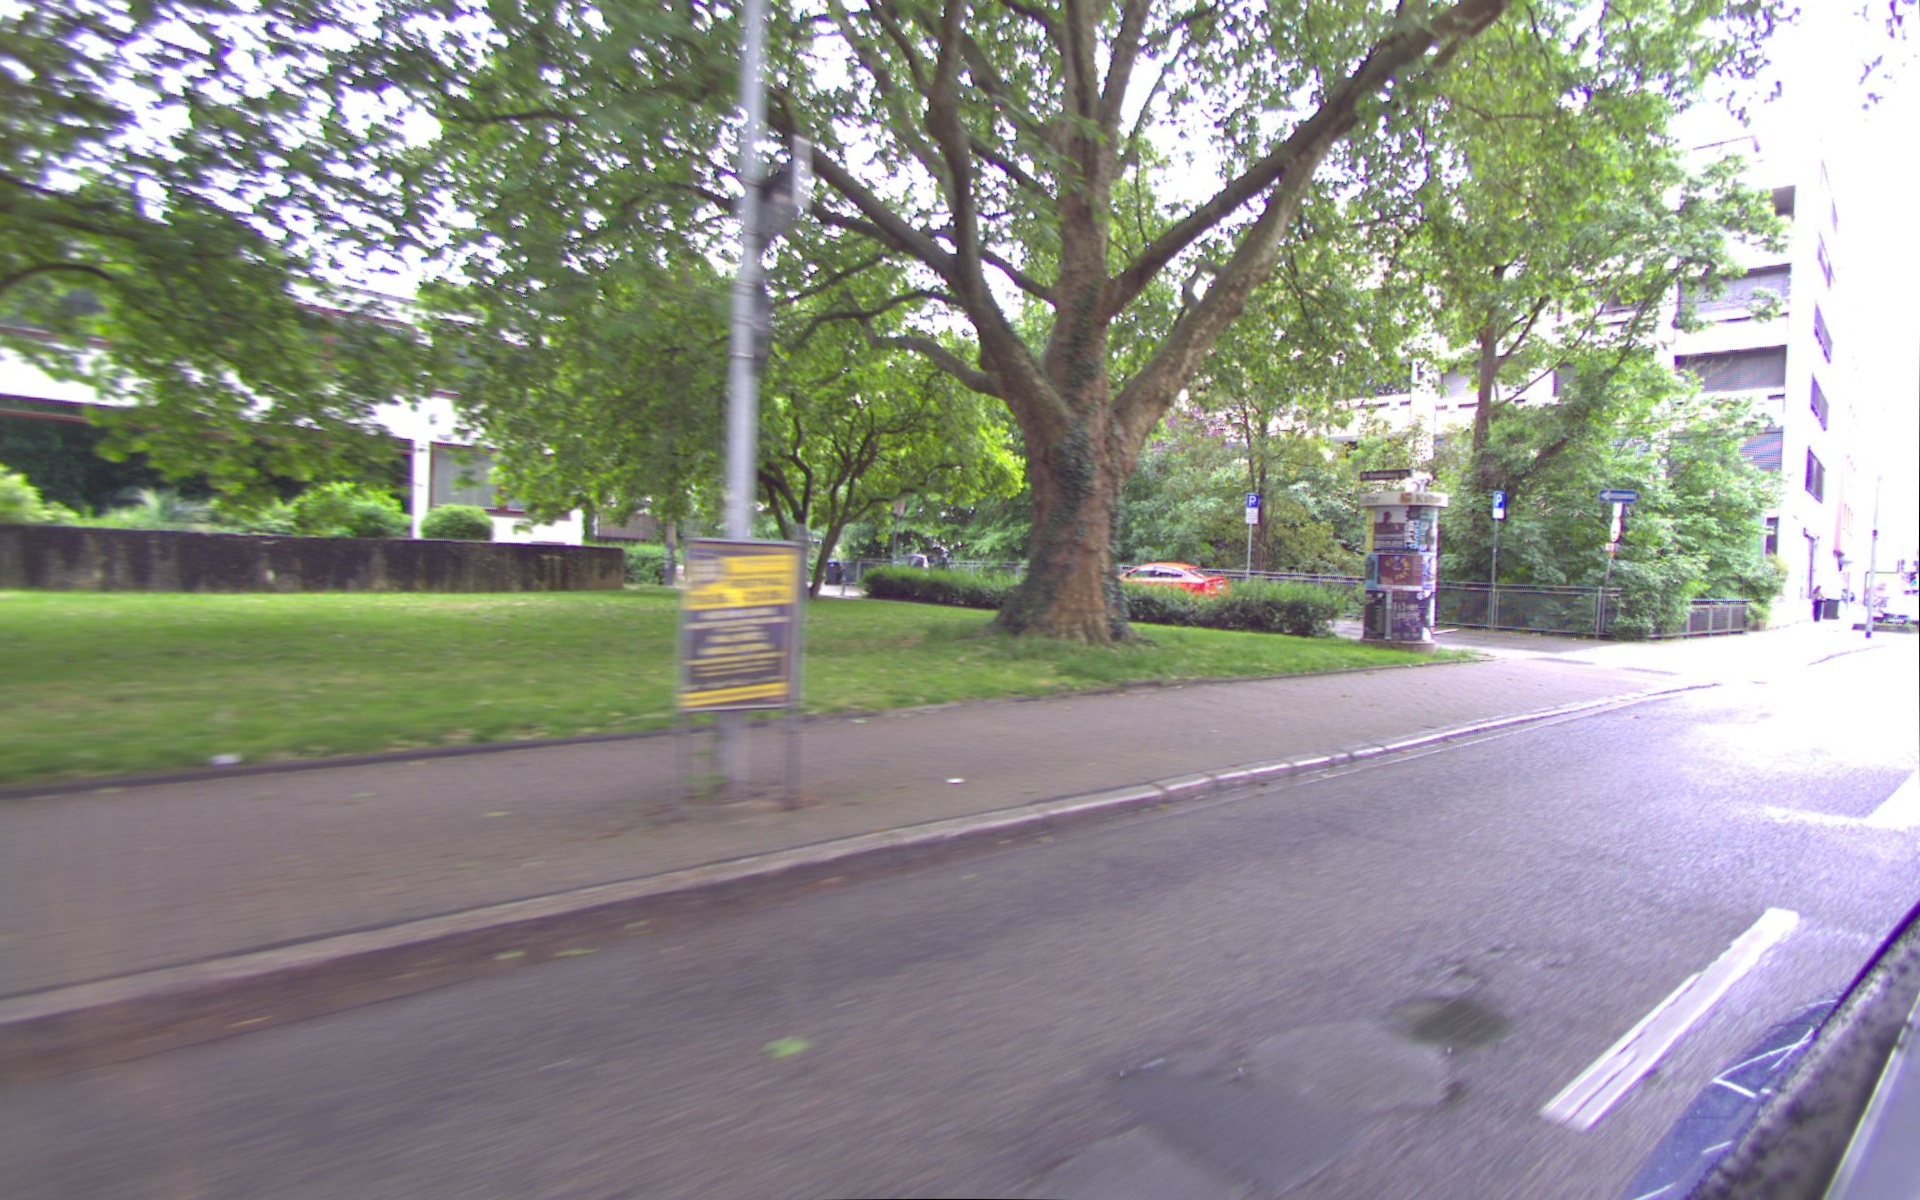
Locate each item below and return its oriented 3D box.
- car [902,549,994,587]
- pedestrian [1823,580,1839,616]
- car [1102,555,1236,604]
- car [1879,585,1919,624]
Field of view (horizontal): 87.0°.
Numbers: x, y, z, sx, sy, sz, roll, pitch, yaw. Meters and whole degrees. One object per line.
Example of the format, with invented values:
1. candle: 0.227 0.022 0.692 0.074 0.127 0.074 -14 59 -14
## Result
1. car: -0.477 -1.228 38.102 3.460 1.294 1.426 5 4 44
2. pedestrian: 37.812 -0.093 43.929 0.473 1.549 0.480 -1 0 -41
3. car: 6.318 -0.667 30.873 1.551 1.294 3.784 -1 4 -44
4. car: 38.808 0.189 41.105 3.617 1.449 1.681 0 6 -41
